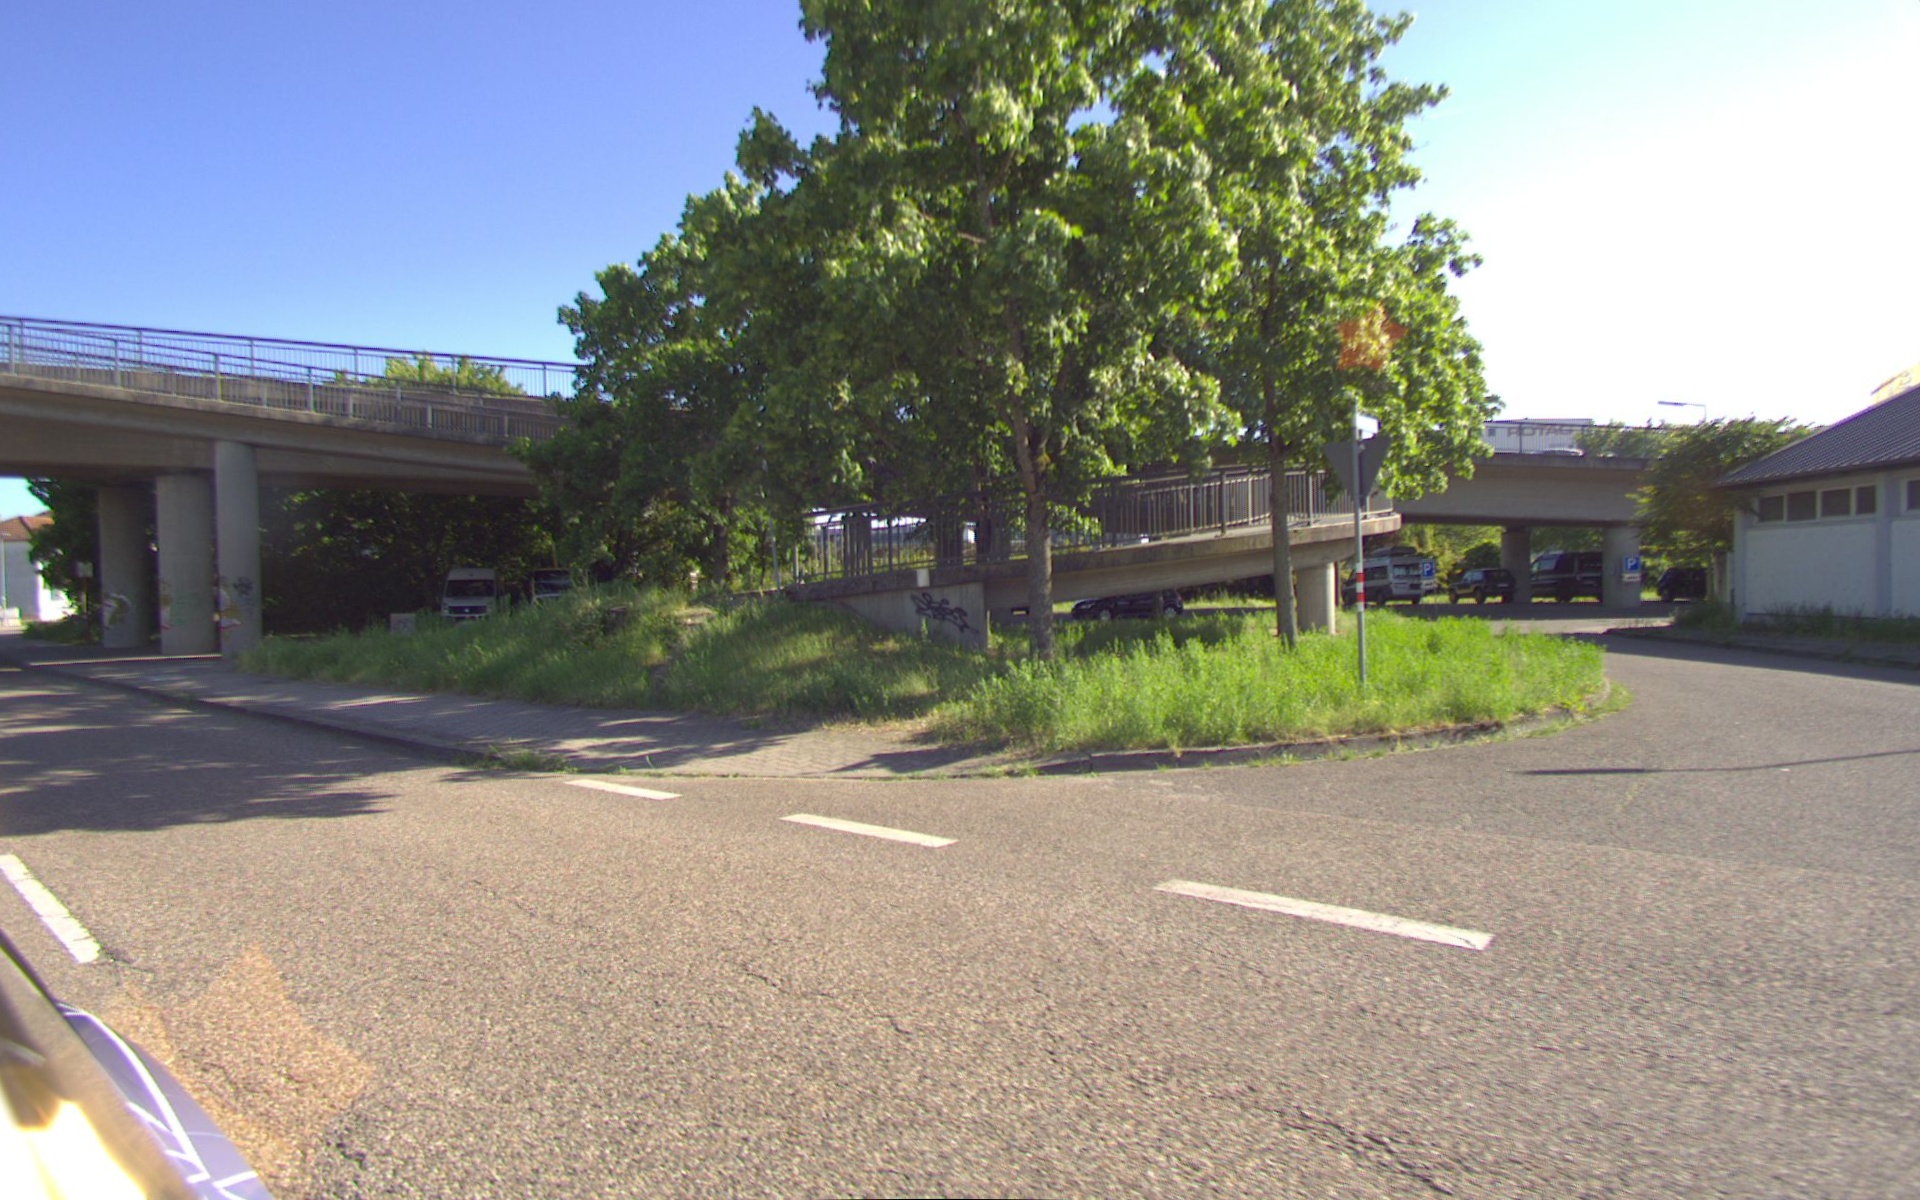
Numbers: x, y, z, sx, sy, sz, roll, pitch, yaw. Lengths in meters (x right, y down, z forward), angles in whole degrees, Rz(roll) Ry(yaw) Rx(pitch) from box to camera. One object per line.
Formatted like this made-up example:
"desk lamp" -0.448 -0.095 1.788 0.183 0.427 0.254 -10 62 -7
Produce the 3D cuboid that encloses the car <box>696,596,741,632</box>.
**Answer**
"car" -10.454 0.565 43.572 1.711 1.453 4.263 -1 0 -15

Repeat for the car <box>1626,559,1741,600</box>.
"car" 41.868 -1.178 58.640 5.057 2.217 2.062 -1 0 1

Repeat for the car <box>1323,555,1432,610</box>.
"car" 20.493 -0.838 50.058 1.968 2.525 6.416 -1 0 -8

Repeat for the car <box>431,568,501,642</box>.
"car" -19.629 0.227 40.429 1.913 2.702 6.028 -1 -1 -21

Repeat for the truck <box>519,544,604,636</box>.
"truck" -17.087 -0.415 43.839 2.441 3.578 7.990 -1 0 -14

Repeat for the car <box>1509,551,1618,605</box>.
"car" 29.525 -1.035 49.739 1.970 2.492 5.208 -1 0 -4

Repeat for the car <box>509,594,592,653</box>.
"car" -12.326 0.710 30.716 1.837 1.654 4.294 2 -1 -16

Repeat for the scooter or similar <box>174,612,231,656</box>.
"scooter or similar" -23.491 1.059 31.390 1.288 1.310 0.580 -1 0 -10

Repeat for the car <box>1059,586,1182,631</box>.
"car" 6.013 0.313 37.996 4.226 1.564 1.688 -1 0 -15

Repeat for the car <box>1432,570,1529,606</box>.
"car" 25.460 -0.574 49.723 1.968 1.656 4.492 -1 0 -8
